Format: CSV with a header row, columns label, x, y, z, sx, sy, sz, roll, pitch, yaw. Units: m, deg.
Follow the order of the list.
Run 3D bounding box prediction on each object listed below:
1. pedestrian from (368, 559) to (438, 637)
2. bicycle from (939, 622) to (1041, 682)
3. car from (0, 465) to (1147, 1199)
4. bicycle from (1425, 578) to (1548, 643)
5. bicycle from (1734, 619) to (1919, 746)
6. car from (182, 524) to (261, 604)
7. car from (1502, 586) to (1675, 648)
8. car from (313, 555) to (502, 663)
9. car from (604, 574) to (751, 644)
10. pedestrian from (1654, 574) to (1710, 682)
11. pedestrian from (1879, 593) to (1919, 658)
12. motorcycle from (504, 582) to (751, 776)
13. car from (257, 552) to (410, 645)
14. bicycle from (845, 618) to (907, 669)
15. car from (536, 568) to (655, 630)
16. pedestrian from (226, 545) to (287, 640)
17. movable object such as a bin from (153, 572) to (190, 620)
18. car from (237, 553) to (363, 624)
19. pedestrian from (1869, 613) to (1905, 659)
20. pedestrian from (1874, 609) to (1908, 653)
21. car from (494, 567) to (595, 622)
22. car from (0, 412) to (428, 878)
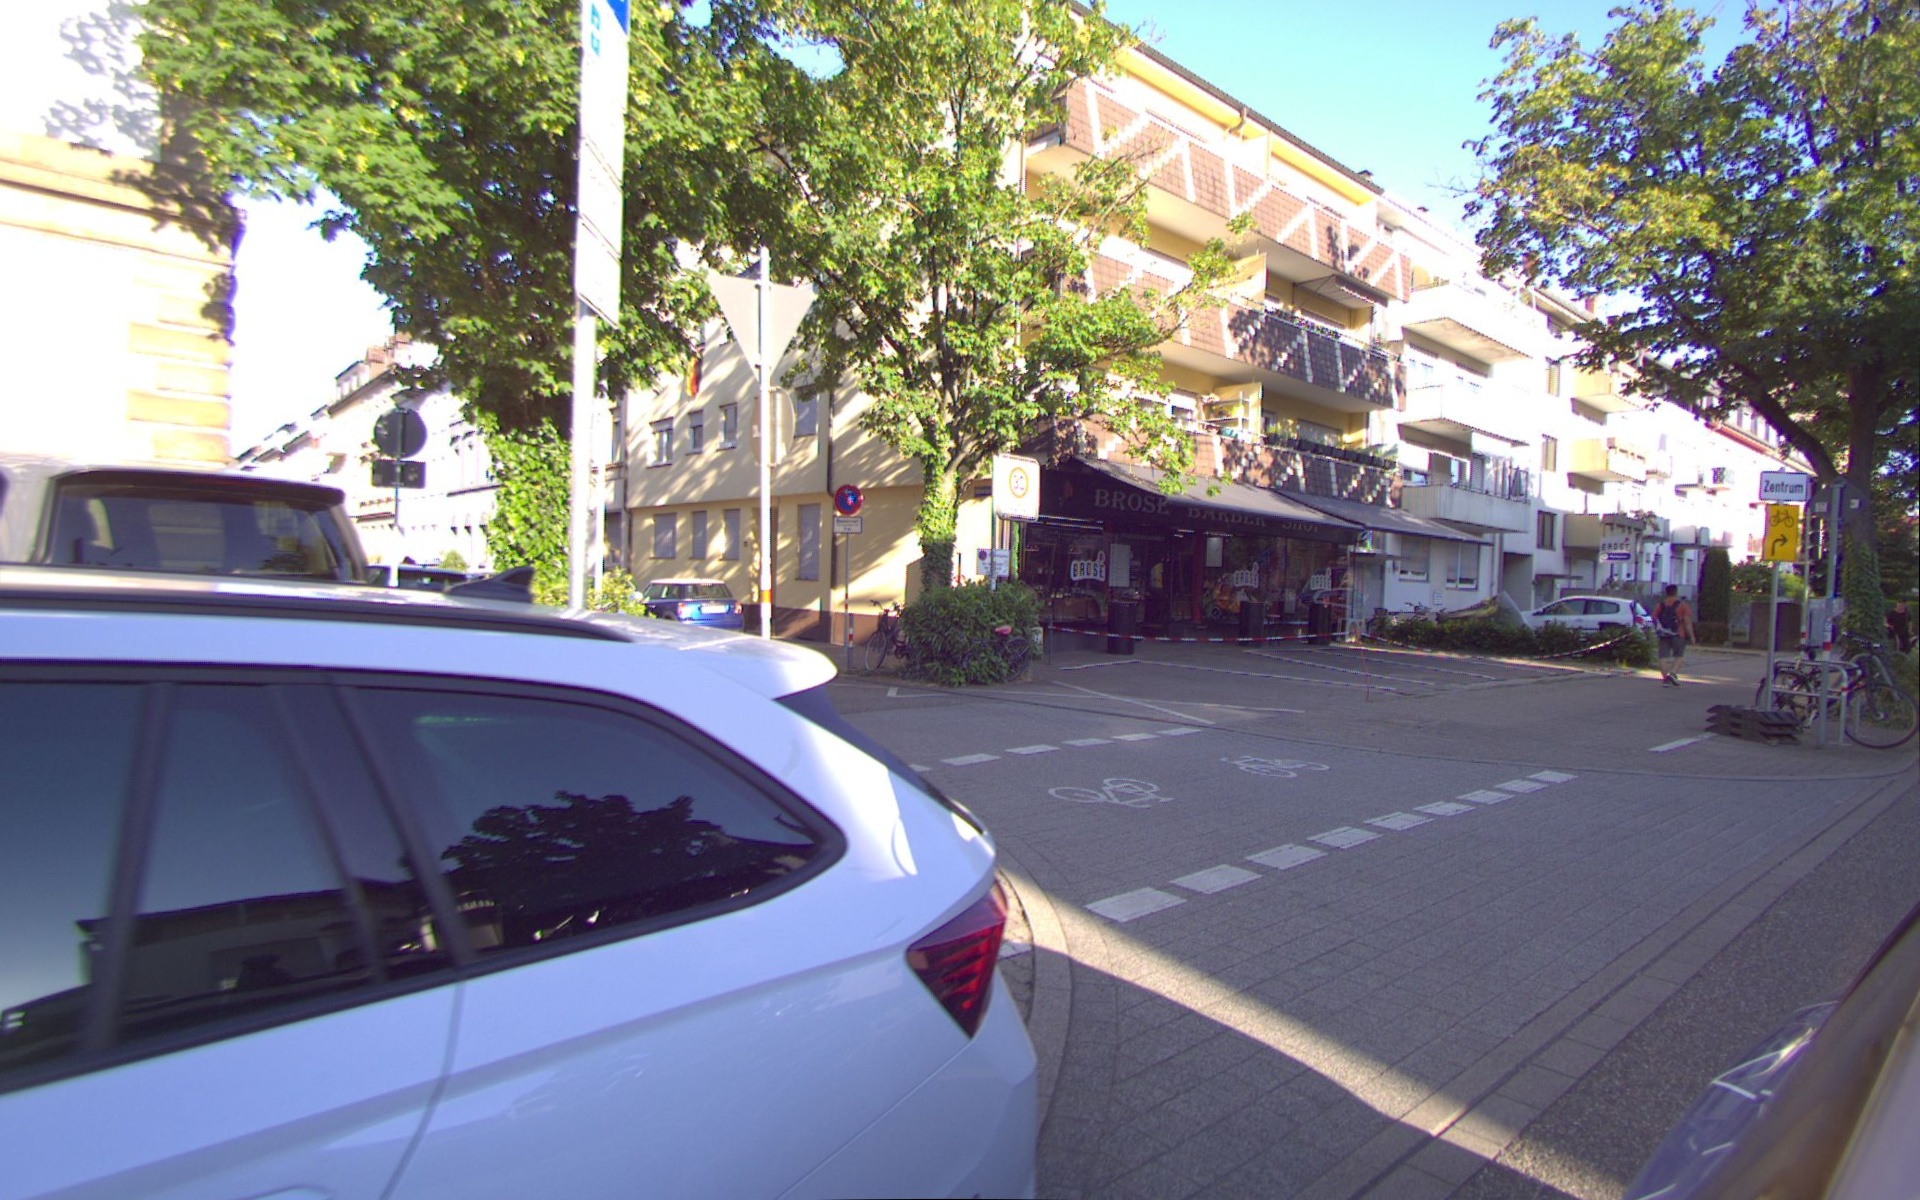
label,x,y,z,sx,sy,sz,roll,pitch,yaw
pedestrian,-11.346,-0.058,20.602,0.995,1.509,1.230,1,1,-41
bicycle,0.441,0.718,14.477,1.504,0.777,0.486,0,1,-40
car,-1.998,0.609,0.959,4.540,1.496,1.825,0,1,-41
bicycle,12.789,0.224,24.653,0.912,1.459,2.457,1,1,-42
bicycle,9.942,0.880,11.429,0.602,1.176,1.905,1,3,-14
car,-26.817,-1.295,36.683,1.965,2.706,4.576,1,1,-40
car,17.549,0.425,28.359,1.550,1.523,3.869,0,2,-45
car,-8.968,0.102,16.272,1.742,1.502,3.993,4,-1,-42
car,-6.374,0.125,22.557,1.708,1.377,3.996,-1,3,-39
pedestrian,12.335,0.461,17.287,0.552,1.794,0.619,2,0,-40
pedestrian,21.986,0.593,23.462,0.798,1.462,0.916,1,1,-42
motorcycle,-2.607,0.518,7.784,2.153,1.255,0.778,2,1,40
car,-12.038,-0.068,19.348,1.742,1.559,3.993,4,-1,-42
bicycle,-1.368,0.701,16.495,0.900,0.752,0.426,2,1,18
car,-9.606,-0.082,26.510,1.708,1.472,3.996,-1,3,-39
pedestrian,-12.707,-0.150,18.285,0.946,1.664,0.553,2,1,31
movable object such as a bin,-16.785,-0.088,21.538,0.592,0.989,0.507,1,1,-42
car,-15.378,-0.300,23.503,1.965,1.504,3.995,0,1,-40
pedestrian,22.611,0.866,24.679,0.522,1.072,0.553,1,1,-39
pedestrian,23.525,0.785,25.582,0.533,1.072,0.553,1,1,-40
car,-12.362,-0.217,29.989,1.708,1.472,3.996,-1,3,-39
car,-5.752,0.102,5.971,4.880,1.923,1.907,2,1,21
